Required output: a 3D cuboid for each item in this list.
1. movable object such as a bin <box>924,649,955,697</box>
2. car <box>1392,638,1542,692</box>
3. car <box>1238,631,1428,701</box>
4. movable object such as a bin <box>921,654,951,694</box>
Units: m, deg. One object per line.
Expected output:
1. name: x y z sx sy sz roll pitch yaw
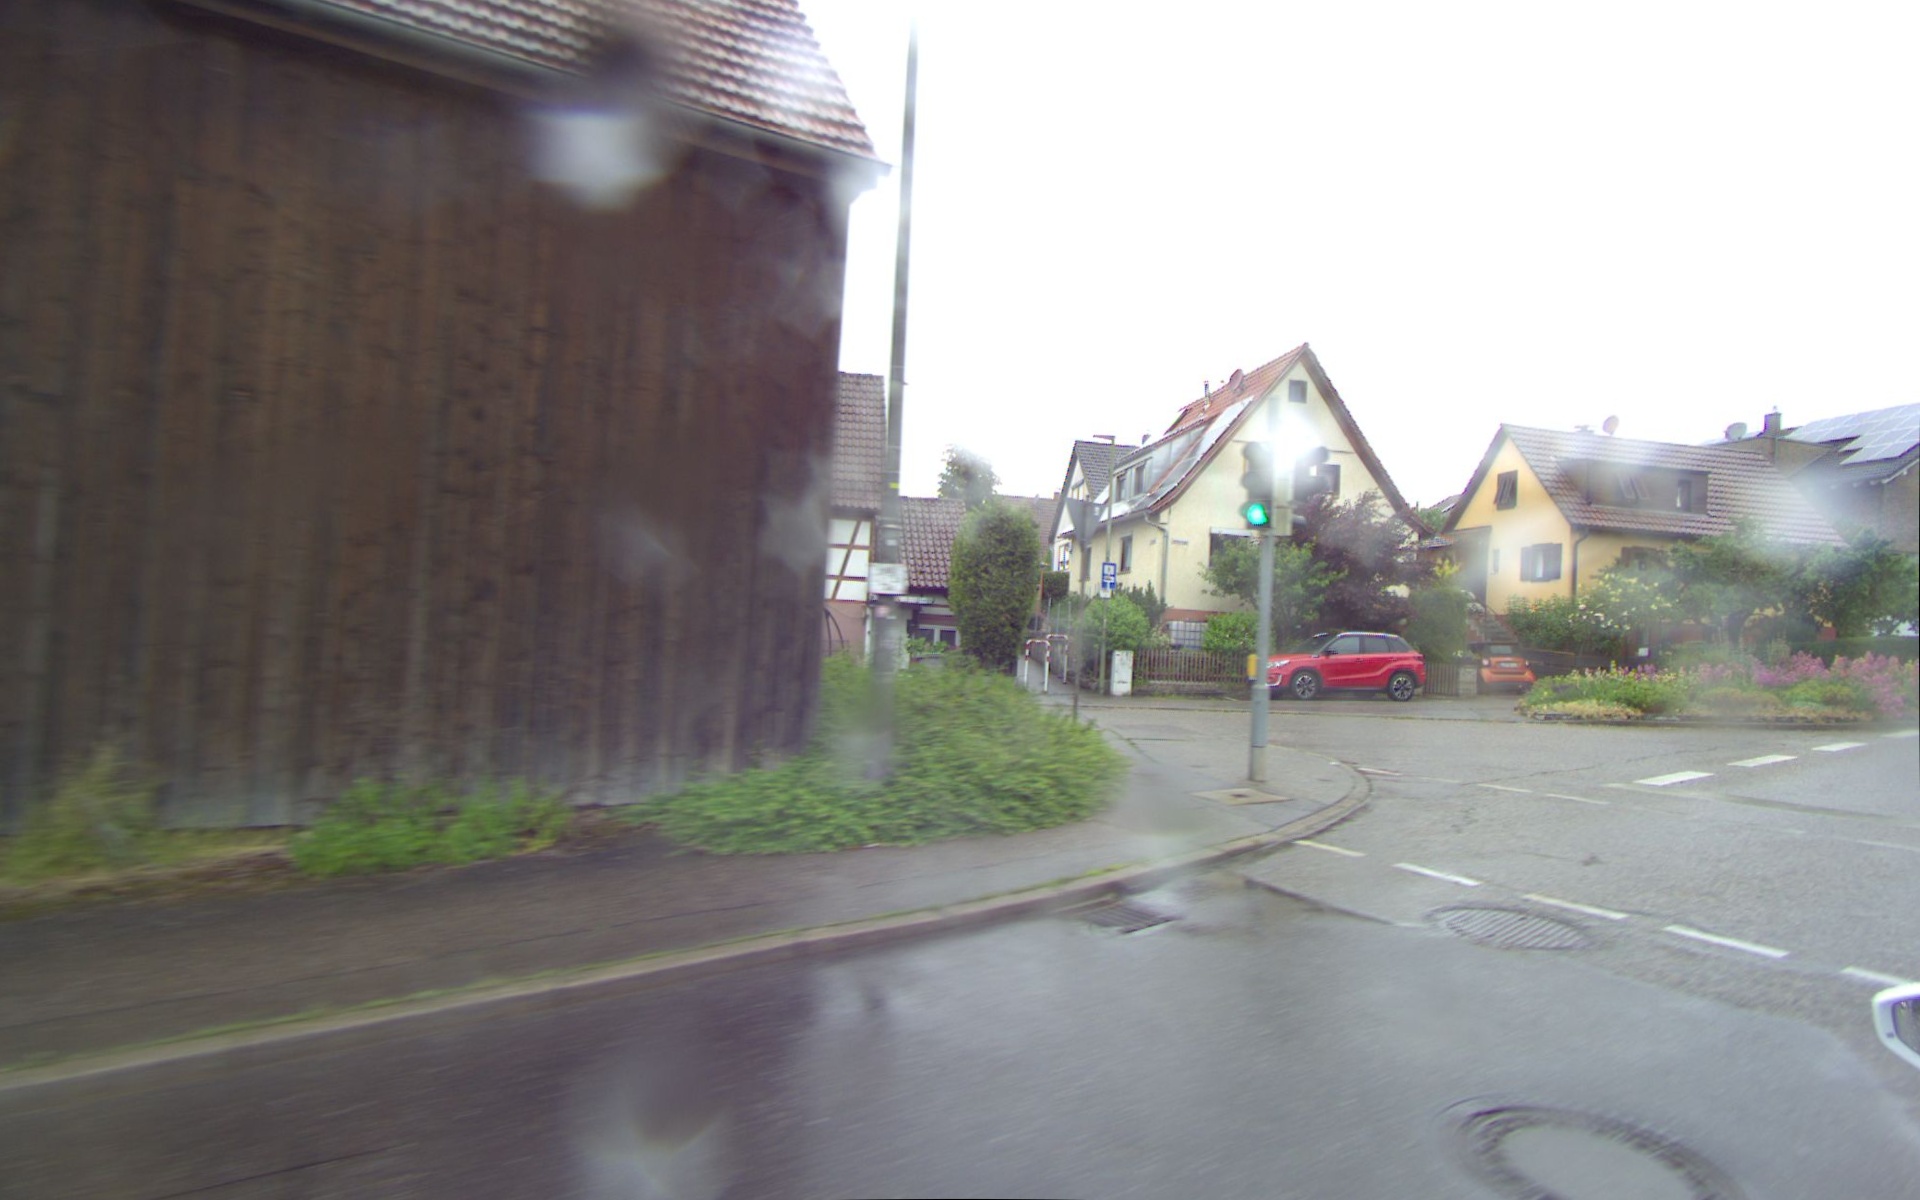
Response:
1. movable object such as a bin: -0.471 1.623 22.425 0.639 1.059 0.579 0 -1 -7
2. car: 14.601 1.835 29.188 1.830 1.402 3.992 1 -1 -11
3. car: 8.875 1.538 24.033 3.947 1.582 1.751 1 -2 -11
4. movable object such as a bin: -0.562 1.712 23.302 0.639 0.899 0.703 0 -1 -7
